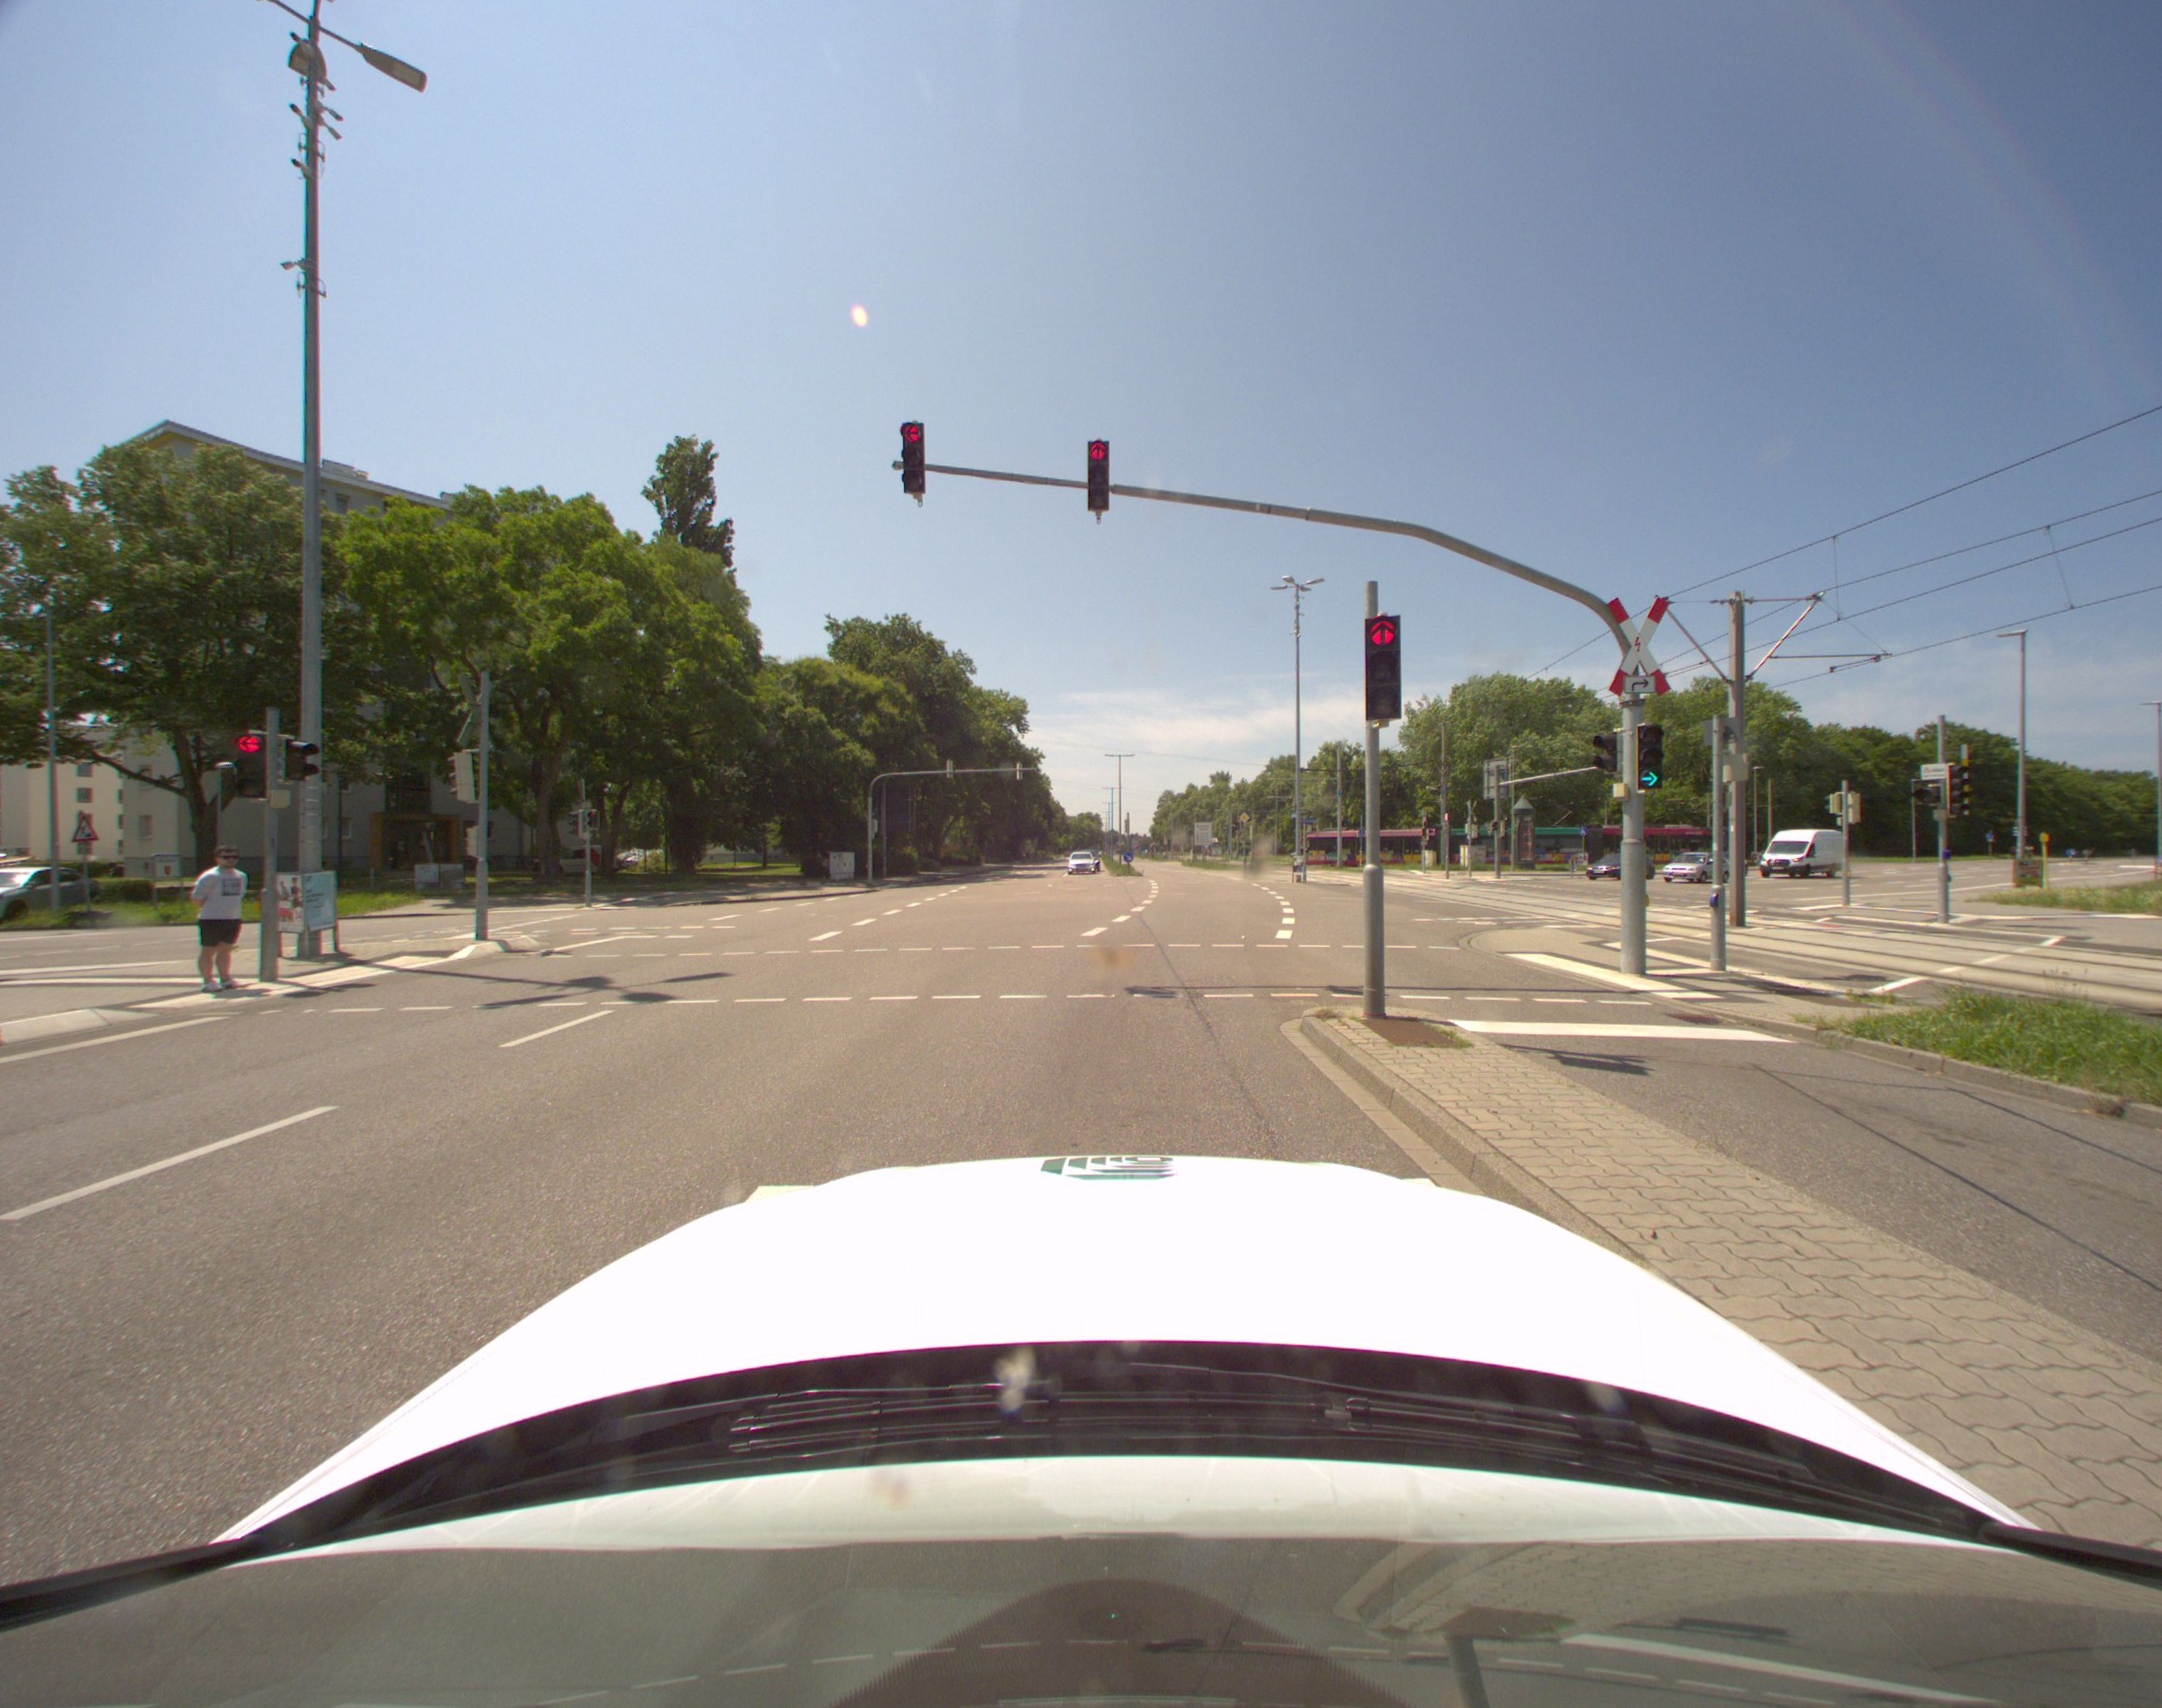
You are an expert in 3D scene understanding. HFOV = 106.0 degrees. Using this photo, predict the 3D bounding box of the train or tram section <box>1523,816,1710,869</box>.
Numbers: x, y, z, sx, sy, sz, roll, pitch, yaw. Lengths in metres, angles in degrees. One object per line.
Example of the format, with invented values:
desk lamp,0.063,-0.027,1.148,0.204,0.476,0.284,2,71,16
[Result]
train or tram section,43.561,-0.890,66.421,13.973,3.920,2.918,1,-3,-5

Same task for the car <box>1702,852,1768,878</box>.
car,39.023,0.600,48.568,4.508,1.463,1.624,0,0,-31

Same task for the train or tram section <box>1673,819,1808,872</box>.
train or tram section,56.438,-0.573,69.554,13.980,3.920,2.900,2,-3,-24

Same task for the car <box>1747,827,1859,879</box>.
car,41.422,-0.080,46.654,7.306,2.802,2.691,0,0,-31

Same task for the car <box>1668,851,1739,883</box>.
car,30.352,0.602,39.702,3.821,1.463,1.623,0,0,-34

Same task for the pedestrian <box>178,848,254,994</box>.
pedestrian,-10.317,0.778,9.721,0.381,1.687,0.485,0,0,-2

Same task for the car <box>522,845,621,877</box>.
car,-29.655,0.384,47.526,1.769,1.768,4.577,0,0,41

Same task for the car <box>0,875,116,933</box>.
car,-29.153,1.318,22.345,1.629,1.380,3.973,1,0,-20

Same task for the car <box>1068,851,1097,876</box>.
car,0.139,0.597,54.526,1.778,1.628,3.867,0,0,2

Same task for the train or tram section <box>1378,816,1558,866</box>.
train or tram section,31.979,-0.944,68.002,13.288,3.812,2.940,0,-3,26

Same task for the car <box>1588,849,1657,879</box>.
car,28.308,0.494,42.538,3.519,1.463,1.624,0,0,-30

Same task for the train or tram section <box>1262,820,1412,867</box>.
train or tram section,23.034,-0.795,74.138,12.906,3.812,2.941,-1,-4,40

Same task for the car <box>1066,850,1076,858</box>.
car,-1.941,-0.098,155.035,1.665,1.490,3.712,0,0,2

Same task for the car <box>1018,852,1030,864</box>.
car,-10.173,0.657,145.325,1.988,2.014,3.997,3,0,-2
